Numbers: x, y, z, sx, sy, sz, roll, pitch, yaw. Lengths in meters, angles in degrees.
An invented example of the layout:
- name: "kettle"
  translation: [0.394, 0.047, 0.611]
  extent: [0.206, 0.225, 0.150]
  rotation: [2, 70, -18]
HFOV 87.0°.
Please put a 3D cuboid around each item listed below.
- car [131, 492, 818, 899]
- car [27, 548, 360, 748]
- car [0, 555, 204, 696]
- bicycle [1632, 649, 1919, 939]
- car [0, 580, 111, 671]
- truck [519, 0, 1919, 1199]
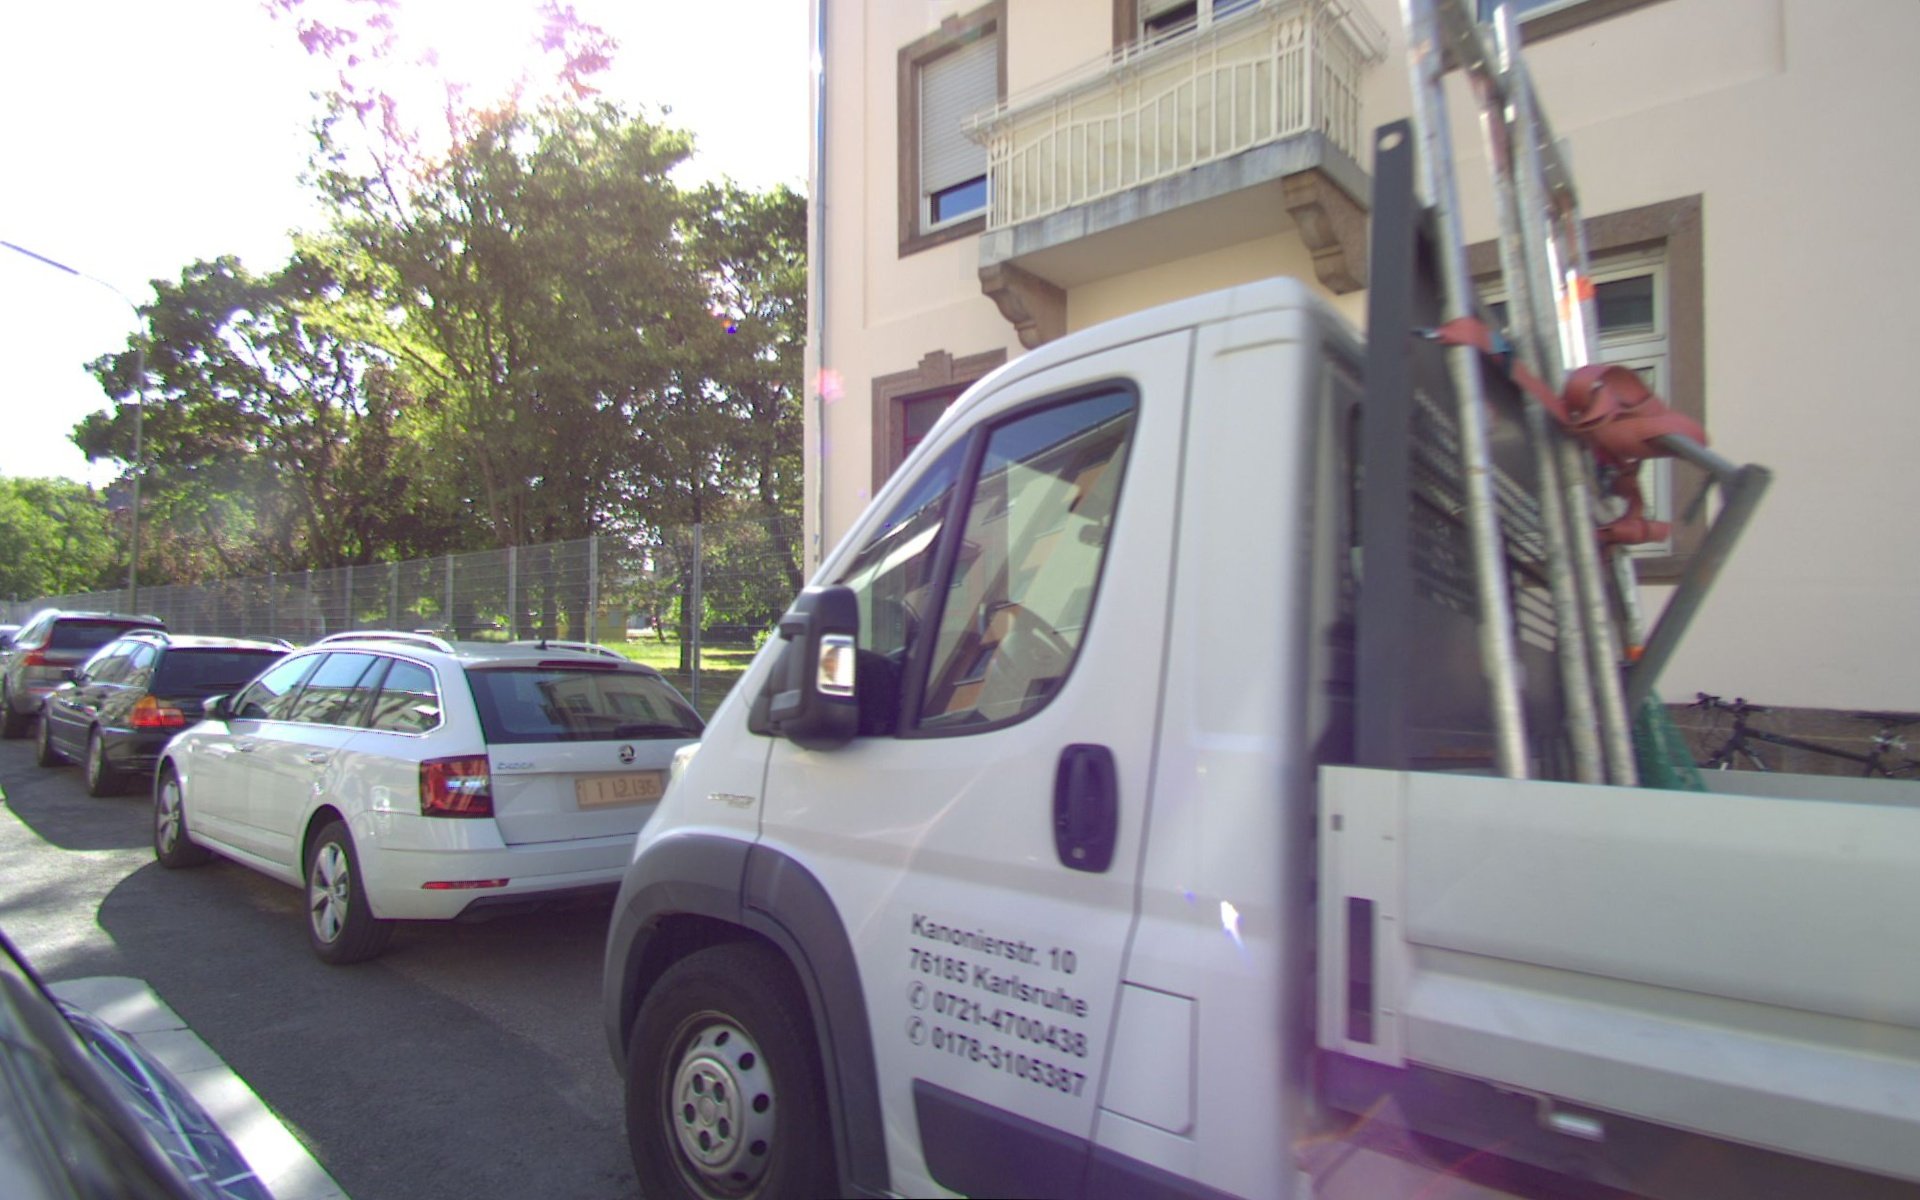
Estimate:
- name: "car"
  translation: [-3.132, 0.510, 6.033]
  extent: [4.636, 1.553, 1.774]
  rotation: [-2, -8, 39]
- name: "car"
  translation: [-7.796, 0.438, 10.119]
  extent: [4.458, 1.574, 1.773]
  rotation: [-1, -3, 42]
- name: "car"
  translation: [-12.455, 0.384, 14.313]
  extent: [4.930, 1.676, 1.858]
  rotation: [-1, -4, 42]
- name: "bicycle"
  translation: [4.580, 0.882, 4.710]
  extent: [2.339, 1.289, 0.563]
  rotation: [-2, -2, 41]
- name: "car"
  translation: [-17.114, 0.466, 18.372]
  extent: [4.498, 1.482, 1.776]
  rotation: [-1, -4, 40]
- name: "truck"
  translation: [2.428, -0.145, 1.233]
  extent: [7.269, 3.009, 2.236]
  rotation: [-1, -4, 39]
